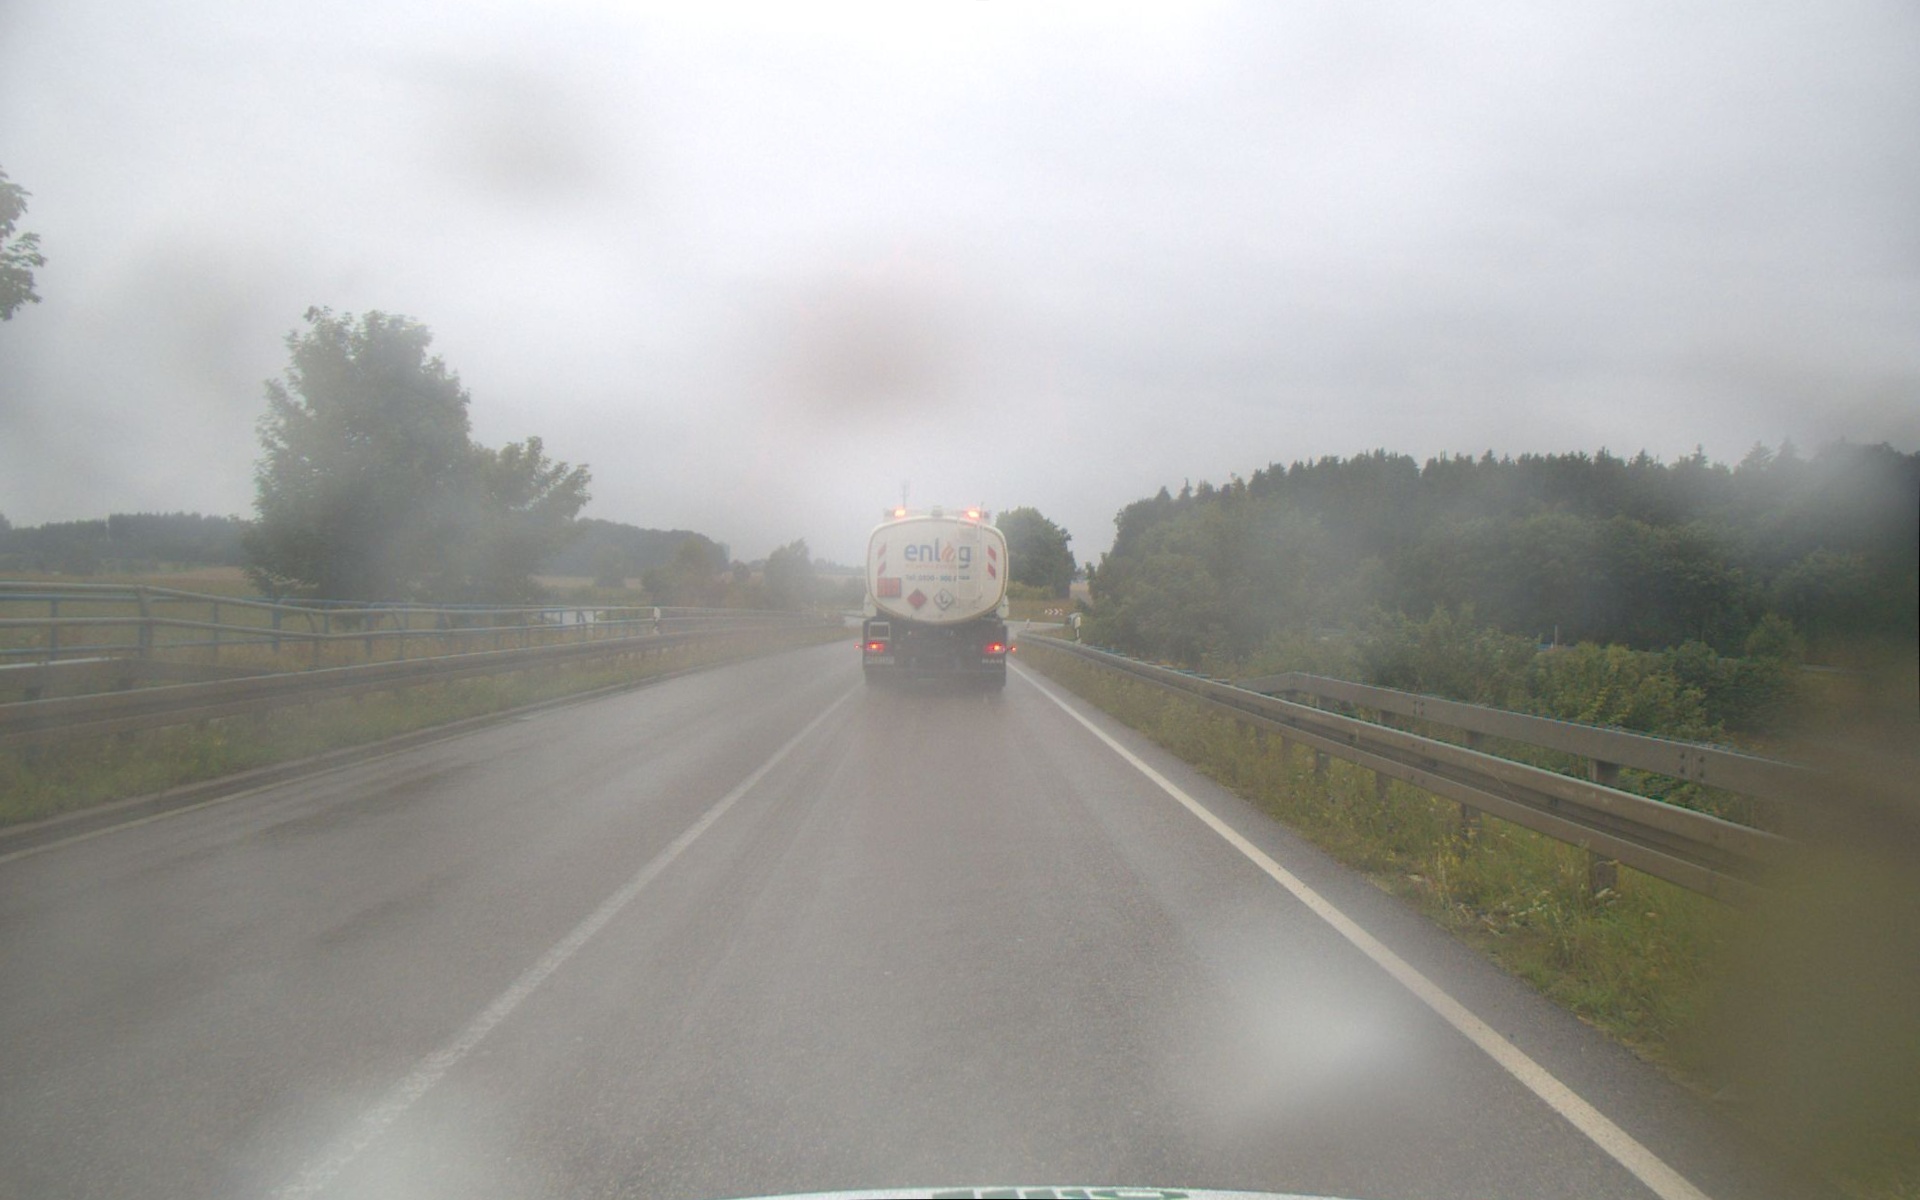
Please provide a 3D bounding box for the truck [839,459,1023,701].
[{"bbox_3d":[-0.451,-0.326,31.317,2.977,3.919,8.822,0,0,0],"label":"truck"}]
